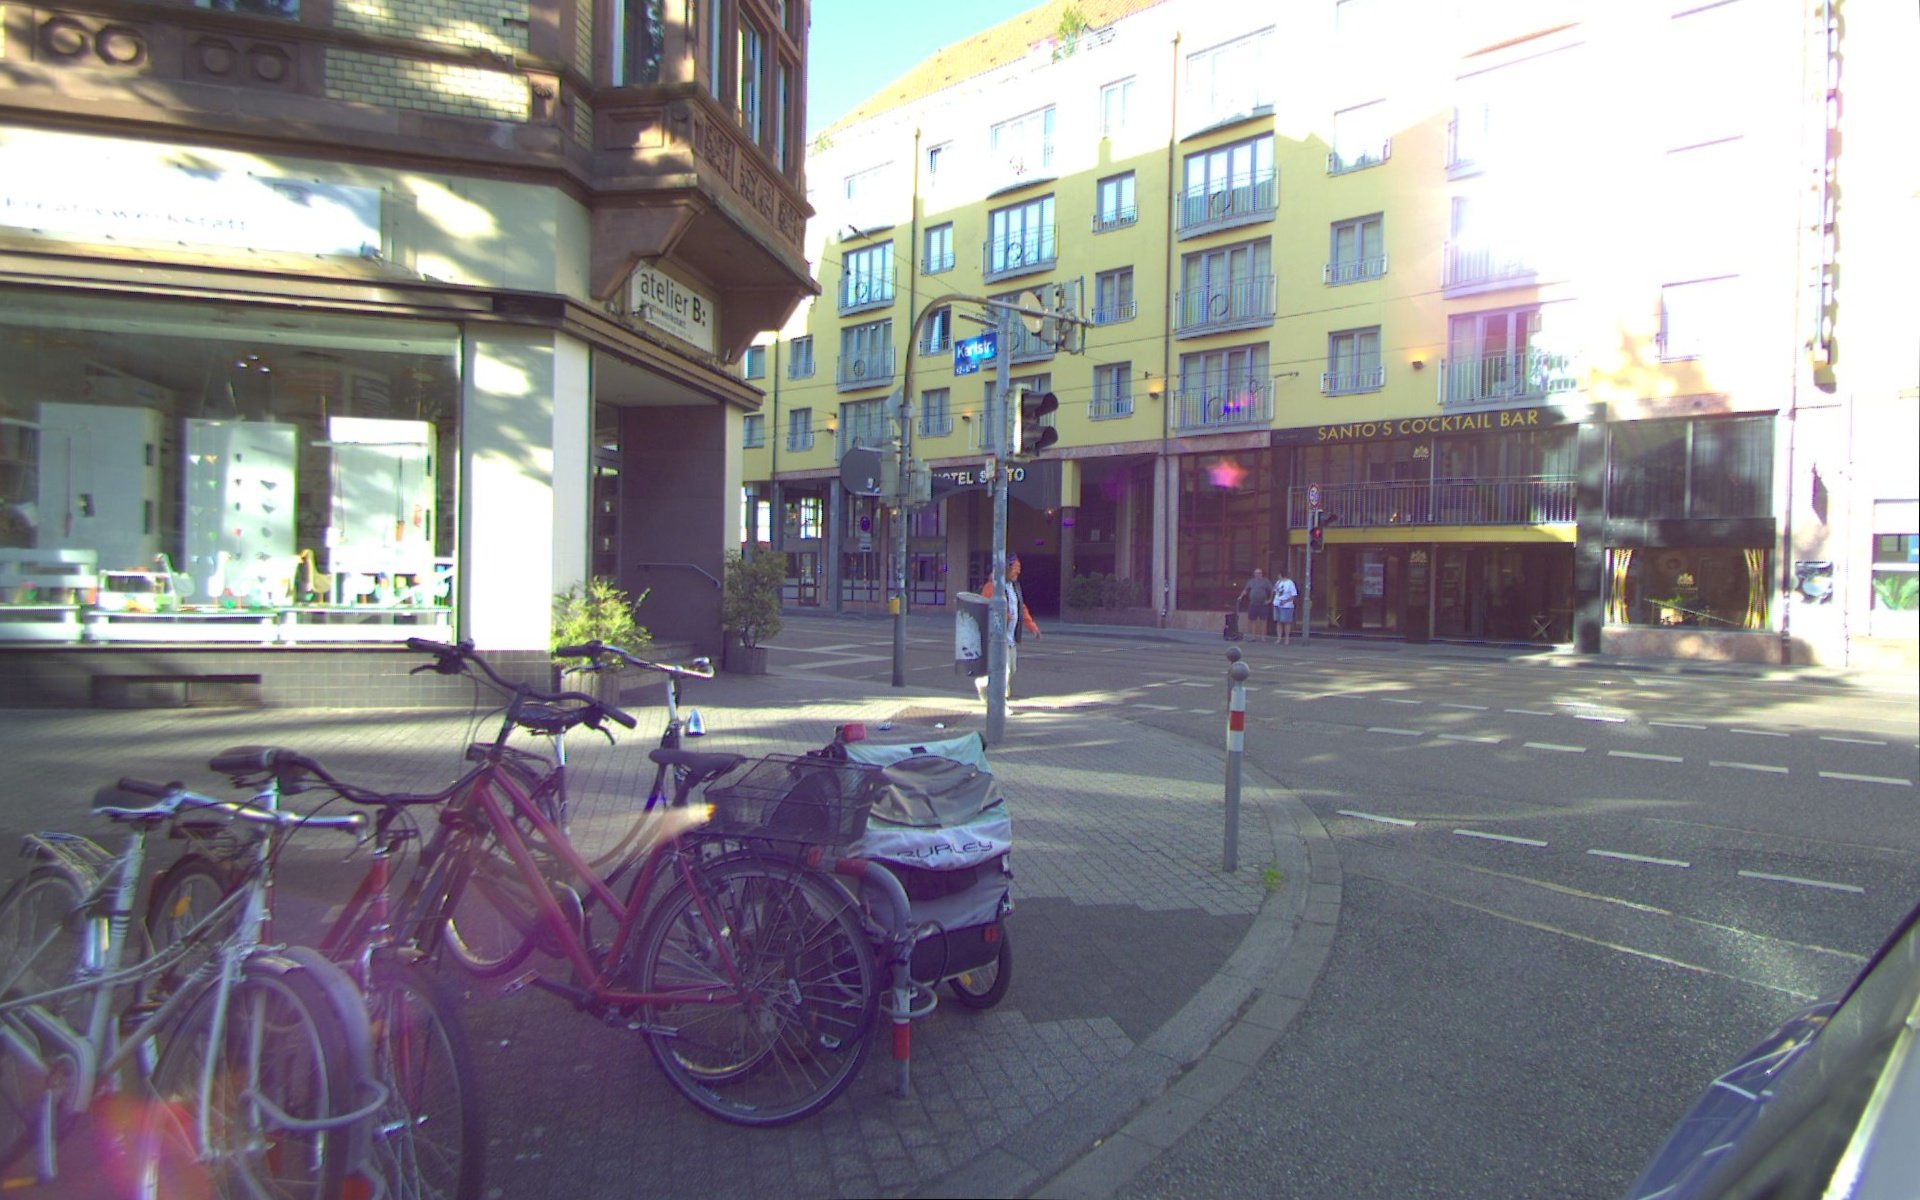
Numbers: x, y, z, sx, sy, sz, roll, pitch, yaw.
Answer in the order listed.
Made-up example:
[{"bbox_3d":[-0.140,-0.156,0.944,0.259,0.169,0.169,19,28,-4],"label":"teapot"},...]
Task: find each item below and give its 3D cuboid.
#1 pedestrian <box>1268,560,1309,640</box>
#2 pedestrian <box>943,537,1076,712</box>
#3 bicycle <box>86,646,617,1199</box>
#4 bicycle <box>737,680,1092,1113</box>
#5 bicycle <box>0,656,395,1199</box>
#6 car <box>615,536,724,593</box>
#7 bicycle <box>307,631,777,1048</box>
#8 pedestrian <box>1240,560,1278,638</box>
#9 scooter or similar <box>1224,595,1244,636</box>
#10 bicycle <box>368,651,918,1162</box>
[{"bbox_3d":[7.907,-0.015,24.378,0.732,1.862,0.717,2,5,40],"label":"pedestrian"},{"bbox_3d":[0.532,0.222,10.511,1.157,1.701,1.002,1,1,17],"label":"pedestrian"},{"bbox_3d":[-1.600,0.768,2.492,1.926,1.106,0.419,4,5,37],"label":"bicycle"},{"bbox_3d":[-0.184,0.849,3.341,0.724,1.039,0.999,0,1,-36],"label":"bicycle"},{"bbox_3d":[-1.862,0.781,2.146,1.926,1.106,0.419,4,5,37],"label":"bicycle"},{"bbox_3d":[-14.927,-1.795,52.245,2.052,2.792,5.071,2,1,42],"label":"car"},{"bbox_3d":[-1.419,0.726,3.465,1.457,1.106,0.571,3,4,17],"label":"bicycle"},{"bbox_3d":[7.448,-0.045,25.188,0.676,1.862,0.717,2,5,40],"label":"pedestrian"},{"bbox_3d":[6.854,0.387,25.335,0.355,0.989,0.417,2,4,38],"label":"scooter or similar"},{"bbox_3d":[-0.884,0.759,2.815,1.457,1.106,0.423,3,4,16],"label":"bicycle"}]
